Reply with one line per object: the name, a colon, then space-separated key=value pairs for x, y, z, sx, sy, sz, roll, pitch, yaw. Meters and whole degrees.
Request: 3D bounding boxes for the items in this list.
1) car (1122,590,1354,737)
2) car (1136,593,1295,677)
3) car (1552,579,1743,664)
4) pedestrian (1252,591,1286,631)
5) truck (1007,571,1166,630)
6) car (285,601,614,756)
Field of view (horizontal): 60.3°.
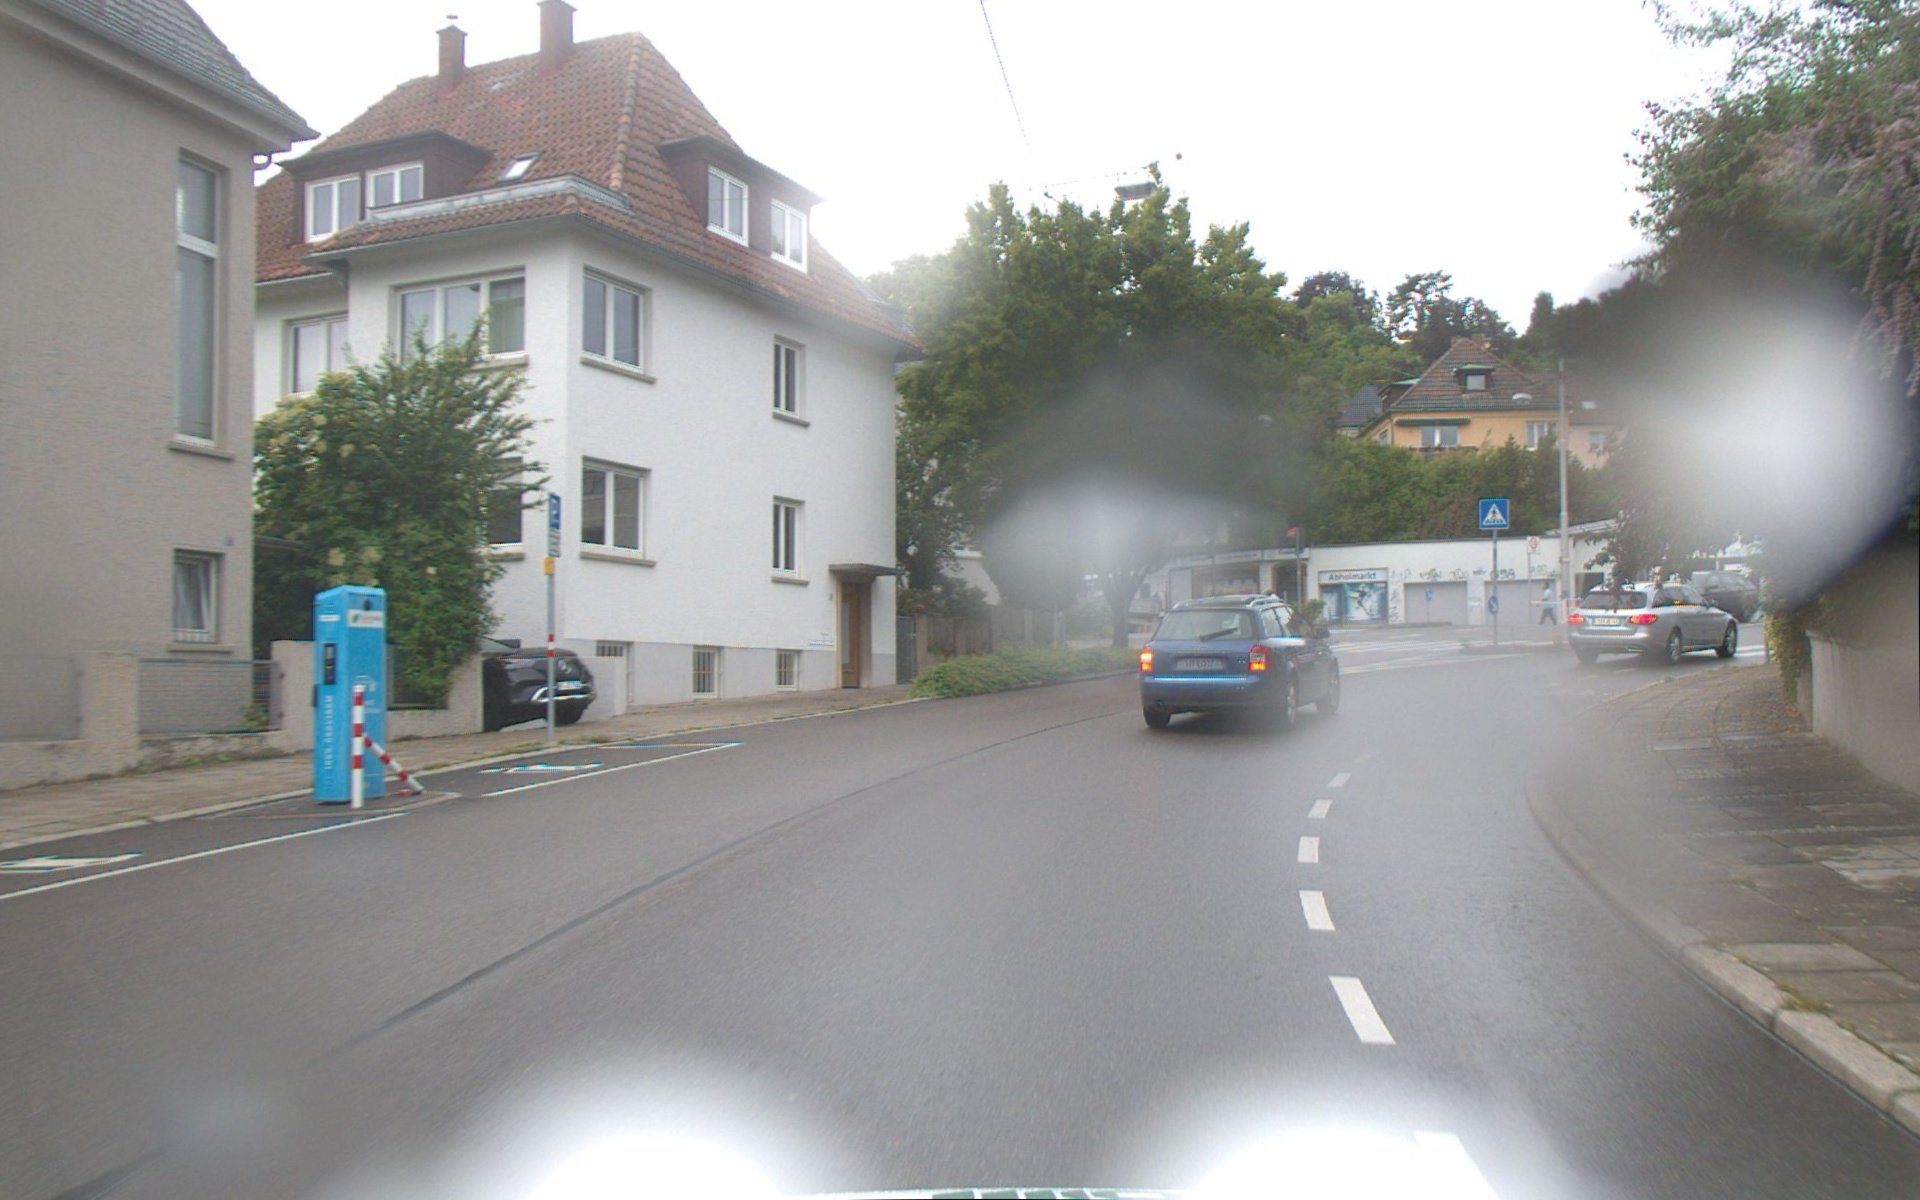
car: x=3.433 y=0.659 z=19.797 sx=1.775 sy=1.464 sz=4.080 roll=0 pitch=2 yaw=24
car: x=4.798 y=0.612 z=30.701 sx=1.460 sy=1.448 sz=3.845 roll=1 pitch=0 yaw=33
car: x=12.839 y=0.360 z=30.795 sx=3.967 sy=1.384 sz=1.789 roll=-2 pitch=1 yaw=-42
pedestrian: x=12.100 y=0.435 z=64.774 sx=0.883 sy=1.531 sz=0.964 roll=-2 pitch=2 yaw=-41
truck: x=5.138 y=-0.003 z=68.345 sx=6.696 sy=2.309 sz=2.298 roll=1 pitch=0 yaw=45
car: x=-7.333 y=1.126 z=23.734 sx=4.159 sy=1.651 sz=1.998 roll=-9 pitch=-4 yaw=26
